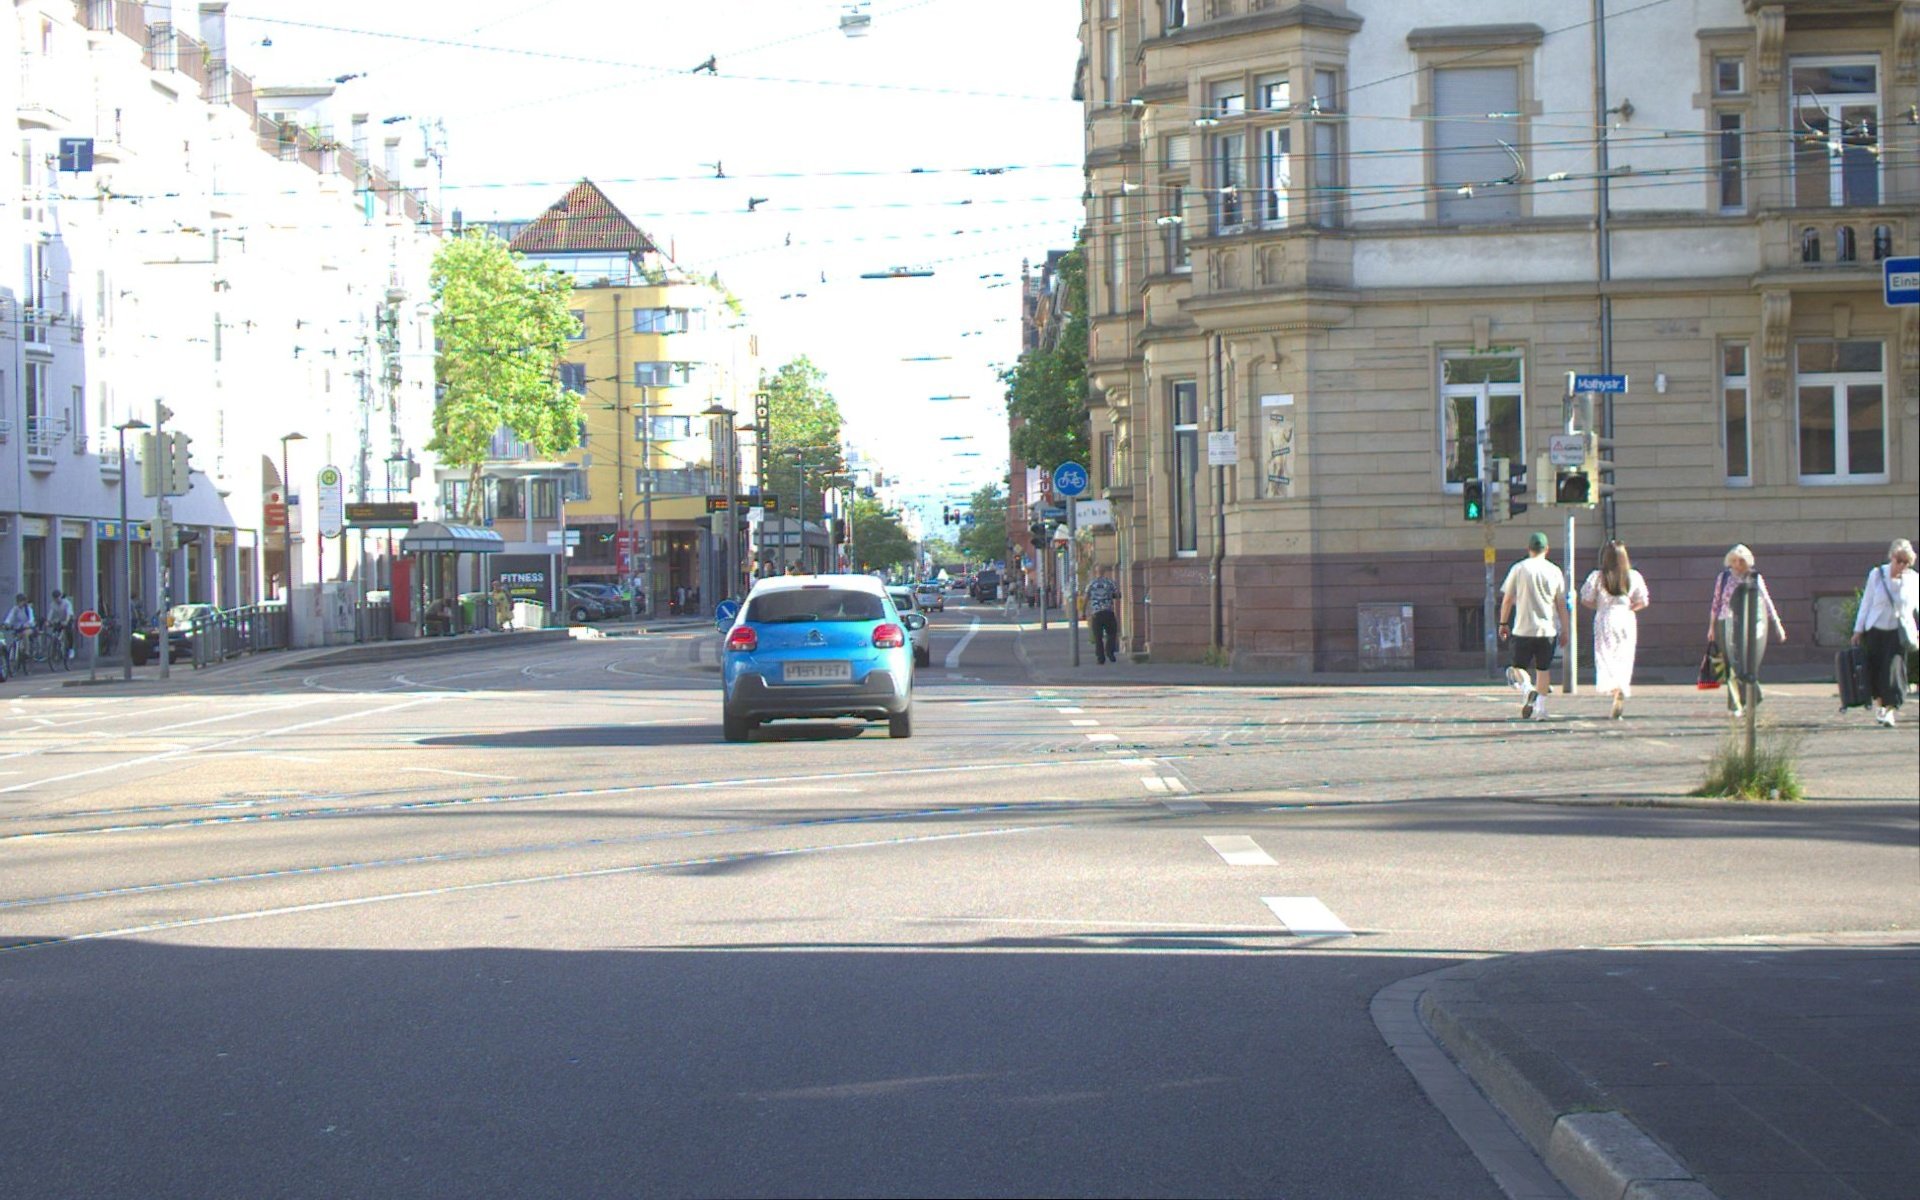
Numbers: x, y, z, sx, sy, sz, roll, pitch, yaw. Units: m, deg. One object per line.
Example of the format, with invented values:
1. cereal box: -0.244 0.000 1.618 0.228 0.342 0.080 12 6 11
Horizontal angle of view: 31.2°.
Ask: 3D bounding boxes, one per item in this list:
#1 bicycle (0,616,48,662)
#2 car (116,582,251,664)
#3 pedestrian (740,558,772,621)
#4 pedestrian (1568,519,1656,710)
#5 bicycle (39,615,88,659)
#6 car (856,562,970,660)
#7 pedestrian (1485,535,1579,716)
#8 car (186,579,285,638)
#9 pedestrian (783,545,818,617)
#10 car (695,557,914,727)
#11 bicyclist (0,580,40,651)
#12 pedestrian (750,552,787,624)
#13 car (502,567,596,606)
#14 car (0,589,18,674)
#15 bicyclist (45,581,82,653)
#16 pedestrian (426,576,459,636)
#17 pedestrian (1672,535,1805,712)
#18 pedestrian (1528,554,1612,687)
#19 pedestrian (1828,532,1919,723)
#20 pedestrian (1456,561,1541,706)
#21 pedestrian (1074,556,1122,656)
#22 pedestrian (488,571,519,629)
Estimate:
1. bicycle: -19.861 0.826 72.812 0.594 0.969 2.012 -1 -1 -2
2. car: -18.729 0.529 83.146 2.227 1.904 4.609 -1 0 0
3. pedestrian: -5.084 -0.257 85.687 0.586 1.556 0.469 -1 1 37
4. pedestrian: 6.012 0.136 31.698 0.644 1.739 0.704 1 -1 22
5. bicycle: -19.949 0.822 76.545 0.594 0.969 2.047 -1 -1 -2
6. car: -0.839 0.214 63.713 1.993 1.737 4.000 1 -1 1
7. pedestrian: 5.297 0.238 31.844 0.701 1.649 0.631 -1 -1 23
8. car: -19.213 0.212 91.344 1.728 1.509 4.405 -1 0 0
9. pedestrian: -3.761 -0.443 81.154 0.636 1.692 0.933 1 -1 8
10. car: -1.373 0.345 31.642 1.781 1.446 3.654 1 1 1
11. bicyclist: -19.860 0.329 72.648 0.588 1.483 0.928 -1 -1 -2
12. pedestrian: -4.803 -0.298 86.181 0.718 1.771 0.564 -1 1 37
13. car: -18.185 -0.616 152.390 3.986 1.669 1.958 0 1 -2
14. car: -18.962 0.602 63.705 1.993 1.590 4.000 -1 -1 -2
15. bicyclist: -19.928 0.381 76.455 0.588 1.580 0.896 -1 -1 -2
16. pedestrian: -13.379 0.152 88.925 0.731 1.522 0.743 0 1 0
17. pedestrian: 7.313 0.223 32.296 0.924 1.626 0.940 -1 -1 32
18. pedestrian: 7.134 0.242 40.202 0.634 1.532 0.940 -1 -1 32
19. pedestrian: 8.051 0.239 29.895 0.923 1.626 1.008 -1 -1 16
20. pedestrian: 6.170 0.382 39.373 0.922 1.626 0.941 -1 -1 9
21. pedestrian: 2.465 0.101 61.396 0.780 1.744 1.093 0 2 -2
22. pedestrian: -12.505 0.000 94.179 0.731 1.553 0.743 0 1 0
